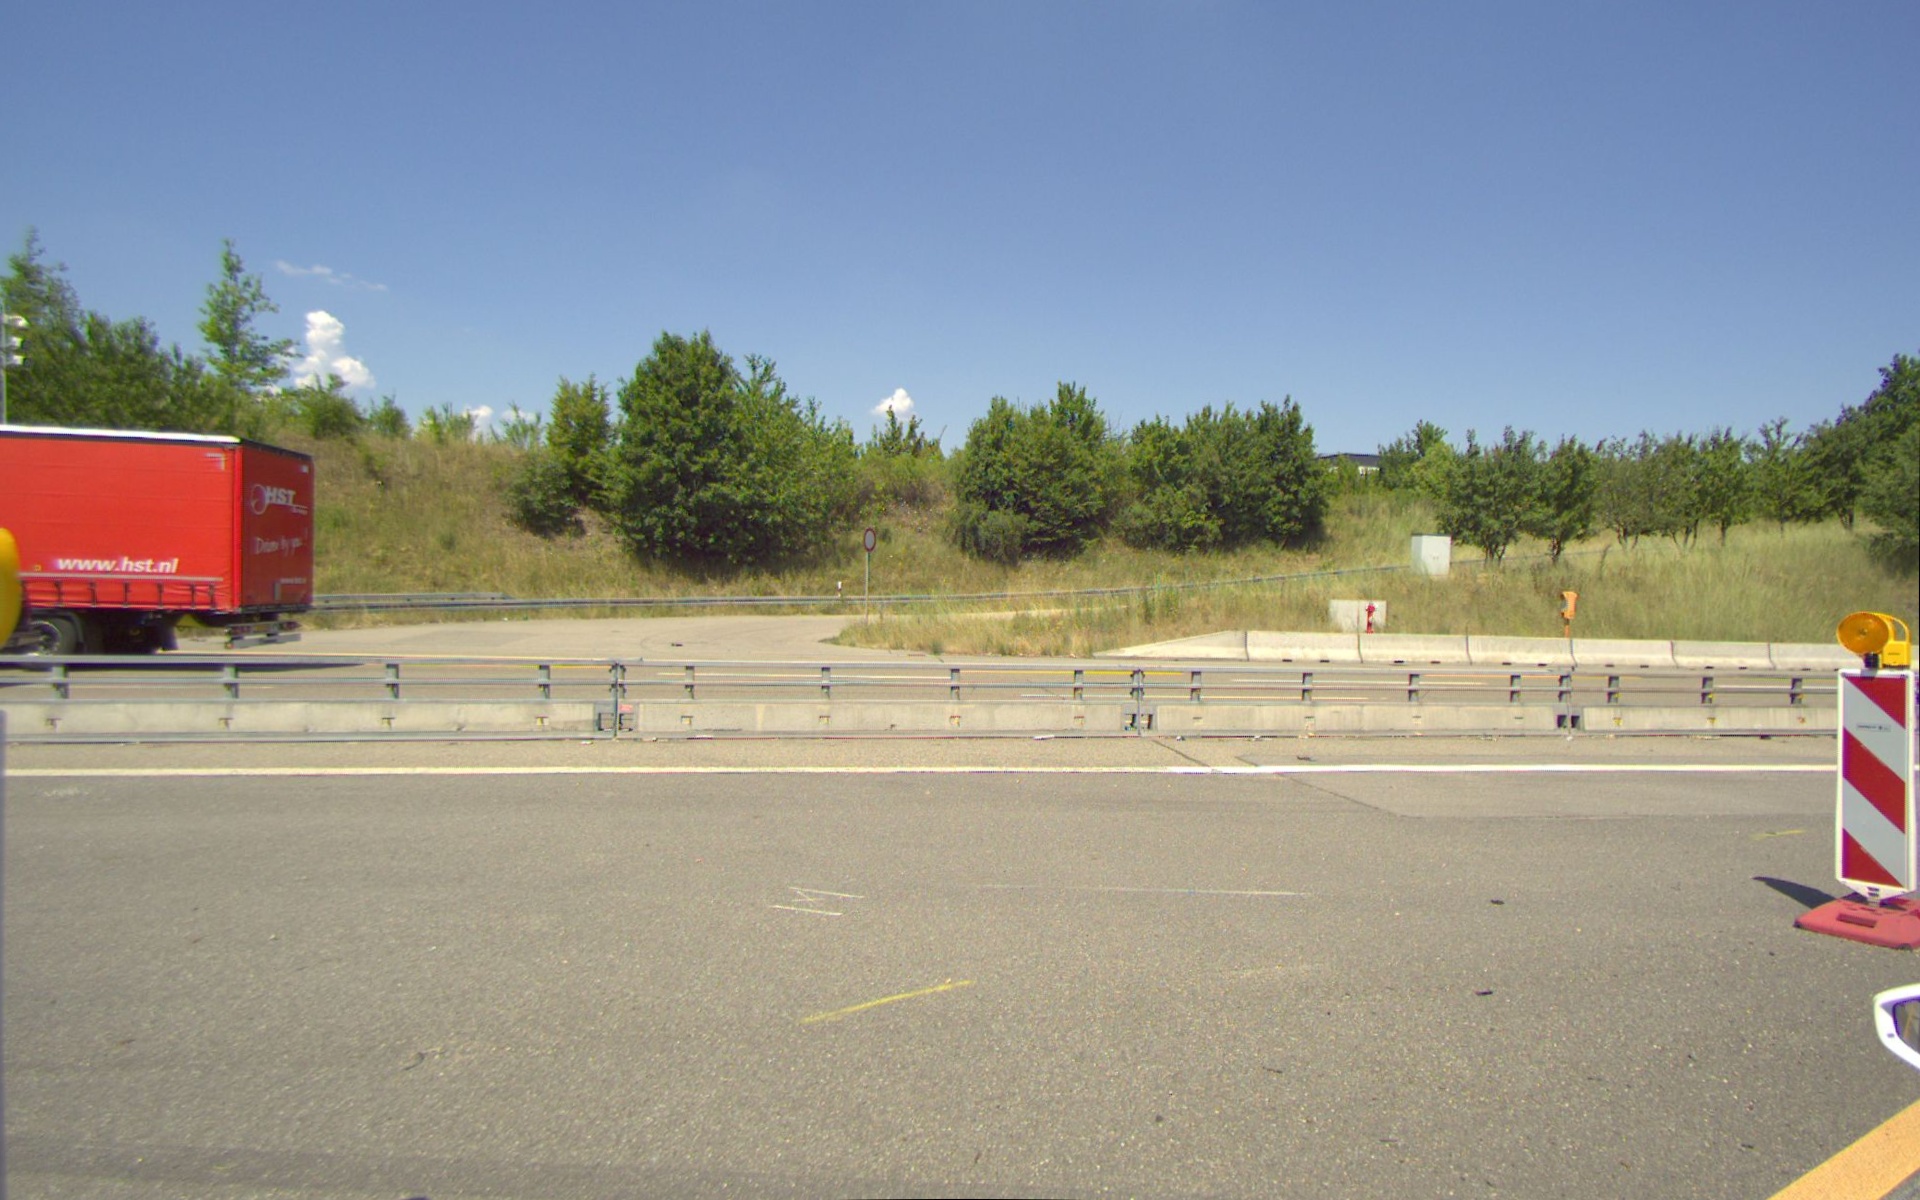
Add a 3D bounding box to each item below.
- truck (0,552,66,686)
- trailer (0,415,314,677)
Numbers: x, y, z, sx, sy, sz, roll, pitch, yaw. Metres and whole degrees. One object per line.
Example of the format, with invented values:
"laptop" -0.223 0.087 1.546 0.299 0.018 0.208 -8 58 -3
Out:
"truck" -15.945 0.225 14.096 4.677 1.899 1.996 1 2 -11
"trailer" -18.588 -1.033 16.871 13.024 4.157 2.341 2 2 -10
